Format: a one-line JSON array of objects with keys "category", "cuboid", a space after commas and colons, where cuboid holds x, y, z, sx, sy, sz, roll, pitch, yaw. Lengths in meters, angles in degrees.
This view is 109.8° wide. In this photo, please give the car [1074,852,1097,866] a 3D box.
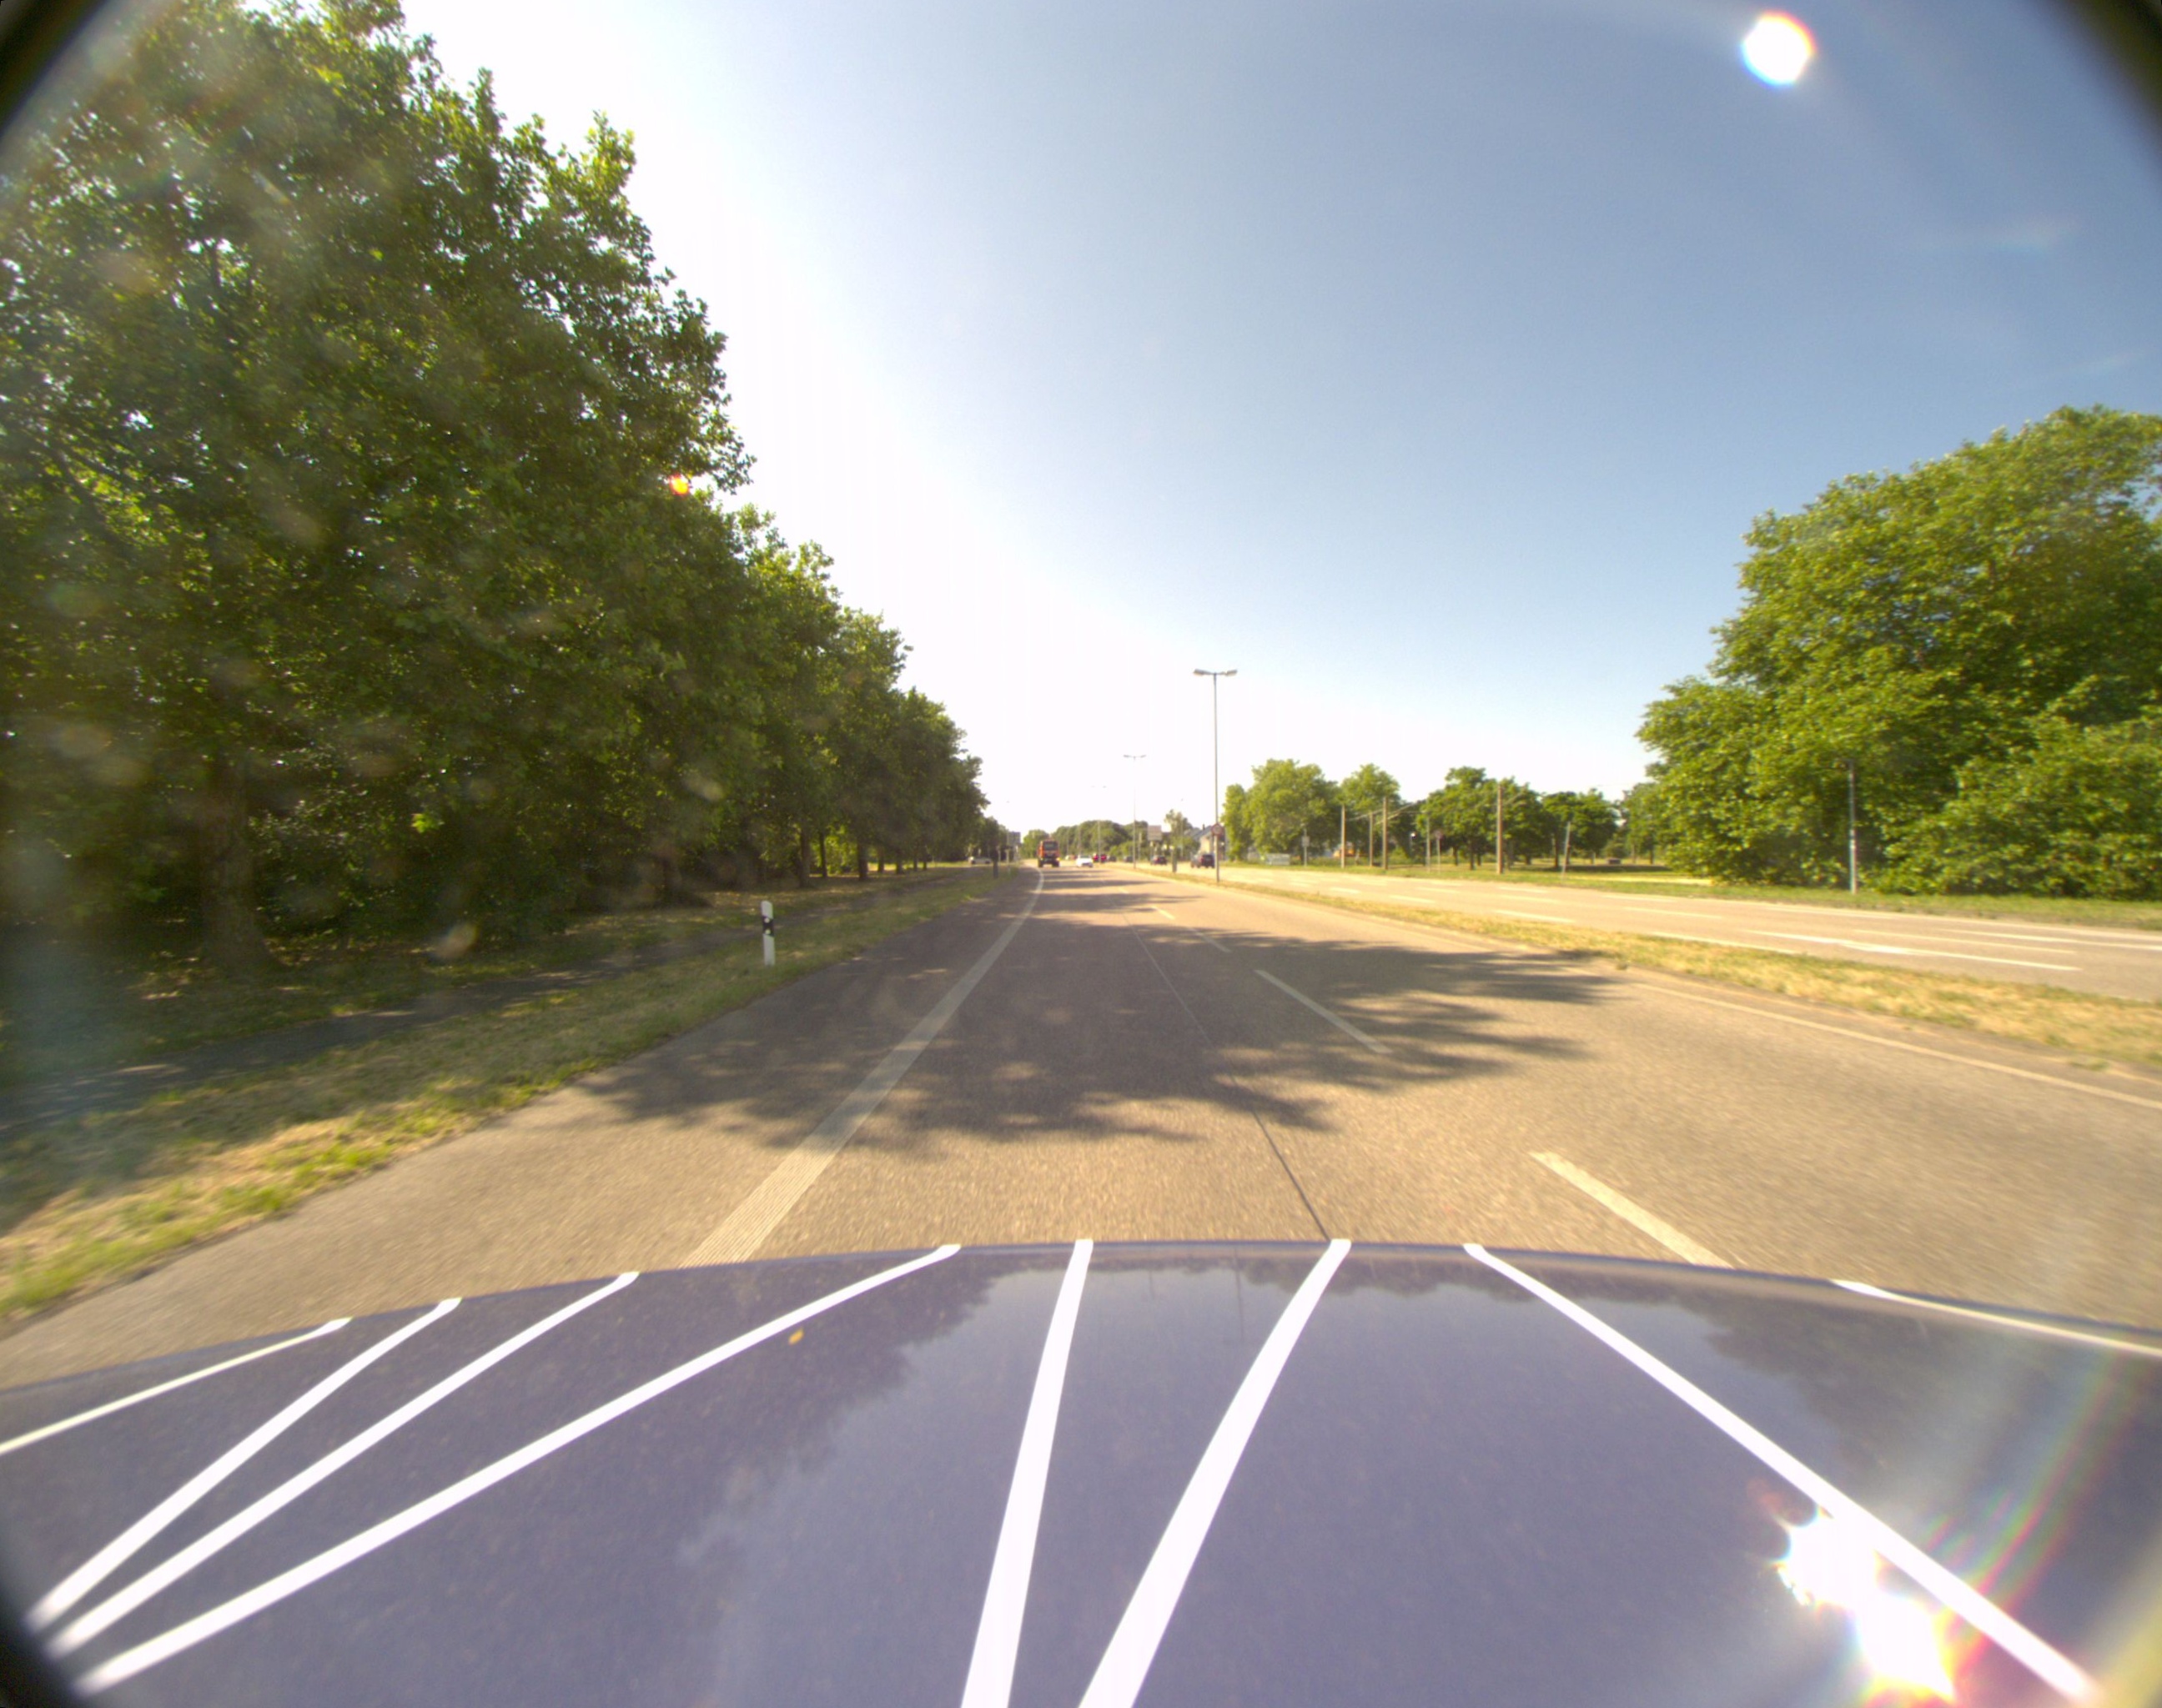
[{"category": "car", "cuboid": [0.517, 0.563, 88.569, 1.870, 1.499, 4.332, -3, 1, -9]}]

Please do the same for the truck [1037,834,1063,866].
[{"category": "truck", "cuboid": [-4.056, -0.504, 98.027, 2.942, 3.853, 6.587, -2, 1, -5]}]

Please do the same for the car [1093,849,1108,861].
[{"category": "car", "cuboid": [3.079, 0.145, 122.682, 1.987, 1.740, 4.505, -1, 1, -5]}]

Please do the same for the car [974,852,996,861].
[{"category": "car", "cuboid": [-17.878, 0.437, 141.539, 4.063, 1.555, 1.742, -1, 1, -5]}]

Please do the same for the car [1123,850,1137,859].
[{"category": "car", "cuboid": [8.922, 0.103, 138.093, 1.868, 1.536, 4.404, 0, 0, -5]}]

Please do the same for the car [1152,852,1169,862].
[{"category": "car", "cuboid": [11.375, 0.400, 109.242, 1.836, 1.457, 4.468, -1, 0, -3]}]

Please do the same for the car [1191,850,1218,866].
[{"category": "car", "cuboid": [13.535, 0.397, 83.410, 1.988, 1.650, 4.553, -1, 0, -4]}]

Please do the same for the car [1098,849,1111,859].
[{"category": "car", "cuboid": [4.638, 0.002, 149.481, 1.987, 1.769, 4.487, -1, 0, -5]}]
